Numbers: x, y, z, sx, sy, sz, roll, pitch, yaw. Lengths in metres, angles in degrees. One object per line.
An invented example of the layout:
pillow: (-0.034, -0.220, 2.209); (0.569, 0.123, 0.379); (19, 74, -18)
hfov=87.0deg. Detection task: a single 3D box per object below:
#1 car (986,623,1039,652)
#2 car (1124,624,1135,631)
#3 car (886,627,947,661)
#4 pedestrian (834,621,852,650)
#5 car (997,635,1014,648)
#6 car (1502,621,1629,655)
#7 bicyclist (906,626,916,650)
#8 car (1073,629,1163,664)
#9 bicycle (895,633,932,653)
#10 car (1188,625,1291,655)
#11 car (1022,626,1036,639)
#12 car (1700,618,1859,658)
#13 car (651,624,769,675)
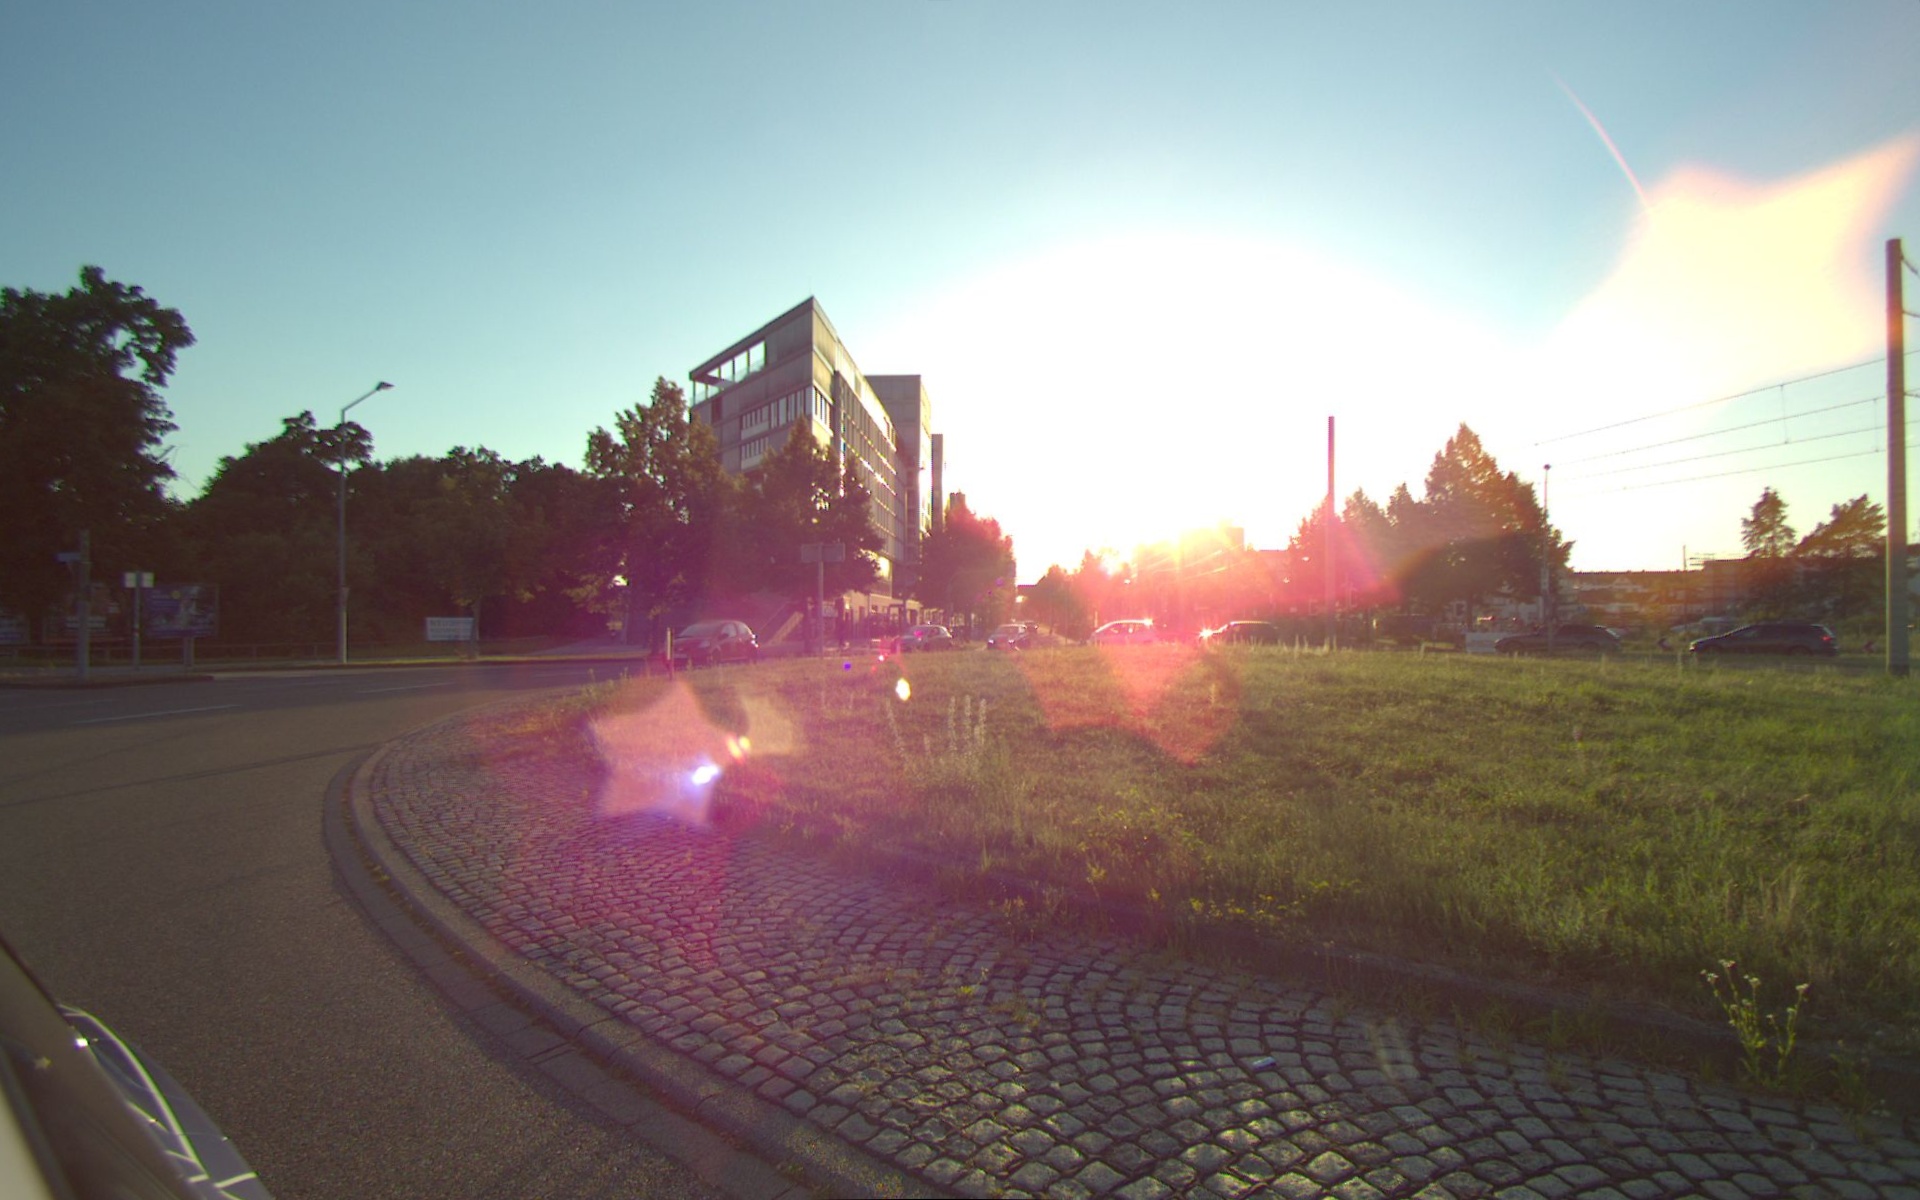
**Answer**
car: (3.019, 2.119, 57.675); (1.722, 1.590, 4.298); (-1, -1, 22)
car: (36.211, 5.863, 216.505); (1.976, 1.464, 3.992); (0, -1, 6)
car: (-1.915, 1.986, 46.031); (1.674, 1.431, 3.981); (-1, -1, 15)
pedestrian: (-8.292, 2.511, 71.533); (0.995, 2.029, 0.768); (-1, 0, 29)
car: (4.939, 4.465, 109.707); (1.729, 1.389, 4.119); (0, -2, 5)
car: (25.735, 1.597, 43.099); (4.351, 1.386, 1.972); (-1, -2, 42)
bicyclist: (-3.063, 2.356, 62.985); (0.602, 1.451, 0.692); (0, -1, -2)
car: (7.407, 2.169, 47.732); (3.835, 1.592, 1.955); (0, -1, -2)
bicycle: (-2.883, 2.680, 62.963); (2.315, 1.254, 0.742); (0, -1, 0)
car: (13.198, 1.893, 48.044); (4.325, 1.386, 1.999); (0, -1, 2)
car: (9.969, 4.727, 146.230); (1.974, 1.827, 5.299); (-2, -2, 4)
car: (30.637, 1.386, 37.913); (1.969, 1.386, 4.389); (1, -2, -42)
car: (-7.507, 1.453, 30.751); (1.675, 1.431, 3.977); (-1, -1, 17)
